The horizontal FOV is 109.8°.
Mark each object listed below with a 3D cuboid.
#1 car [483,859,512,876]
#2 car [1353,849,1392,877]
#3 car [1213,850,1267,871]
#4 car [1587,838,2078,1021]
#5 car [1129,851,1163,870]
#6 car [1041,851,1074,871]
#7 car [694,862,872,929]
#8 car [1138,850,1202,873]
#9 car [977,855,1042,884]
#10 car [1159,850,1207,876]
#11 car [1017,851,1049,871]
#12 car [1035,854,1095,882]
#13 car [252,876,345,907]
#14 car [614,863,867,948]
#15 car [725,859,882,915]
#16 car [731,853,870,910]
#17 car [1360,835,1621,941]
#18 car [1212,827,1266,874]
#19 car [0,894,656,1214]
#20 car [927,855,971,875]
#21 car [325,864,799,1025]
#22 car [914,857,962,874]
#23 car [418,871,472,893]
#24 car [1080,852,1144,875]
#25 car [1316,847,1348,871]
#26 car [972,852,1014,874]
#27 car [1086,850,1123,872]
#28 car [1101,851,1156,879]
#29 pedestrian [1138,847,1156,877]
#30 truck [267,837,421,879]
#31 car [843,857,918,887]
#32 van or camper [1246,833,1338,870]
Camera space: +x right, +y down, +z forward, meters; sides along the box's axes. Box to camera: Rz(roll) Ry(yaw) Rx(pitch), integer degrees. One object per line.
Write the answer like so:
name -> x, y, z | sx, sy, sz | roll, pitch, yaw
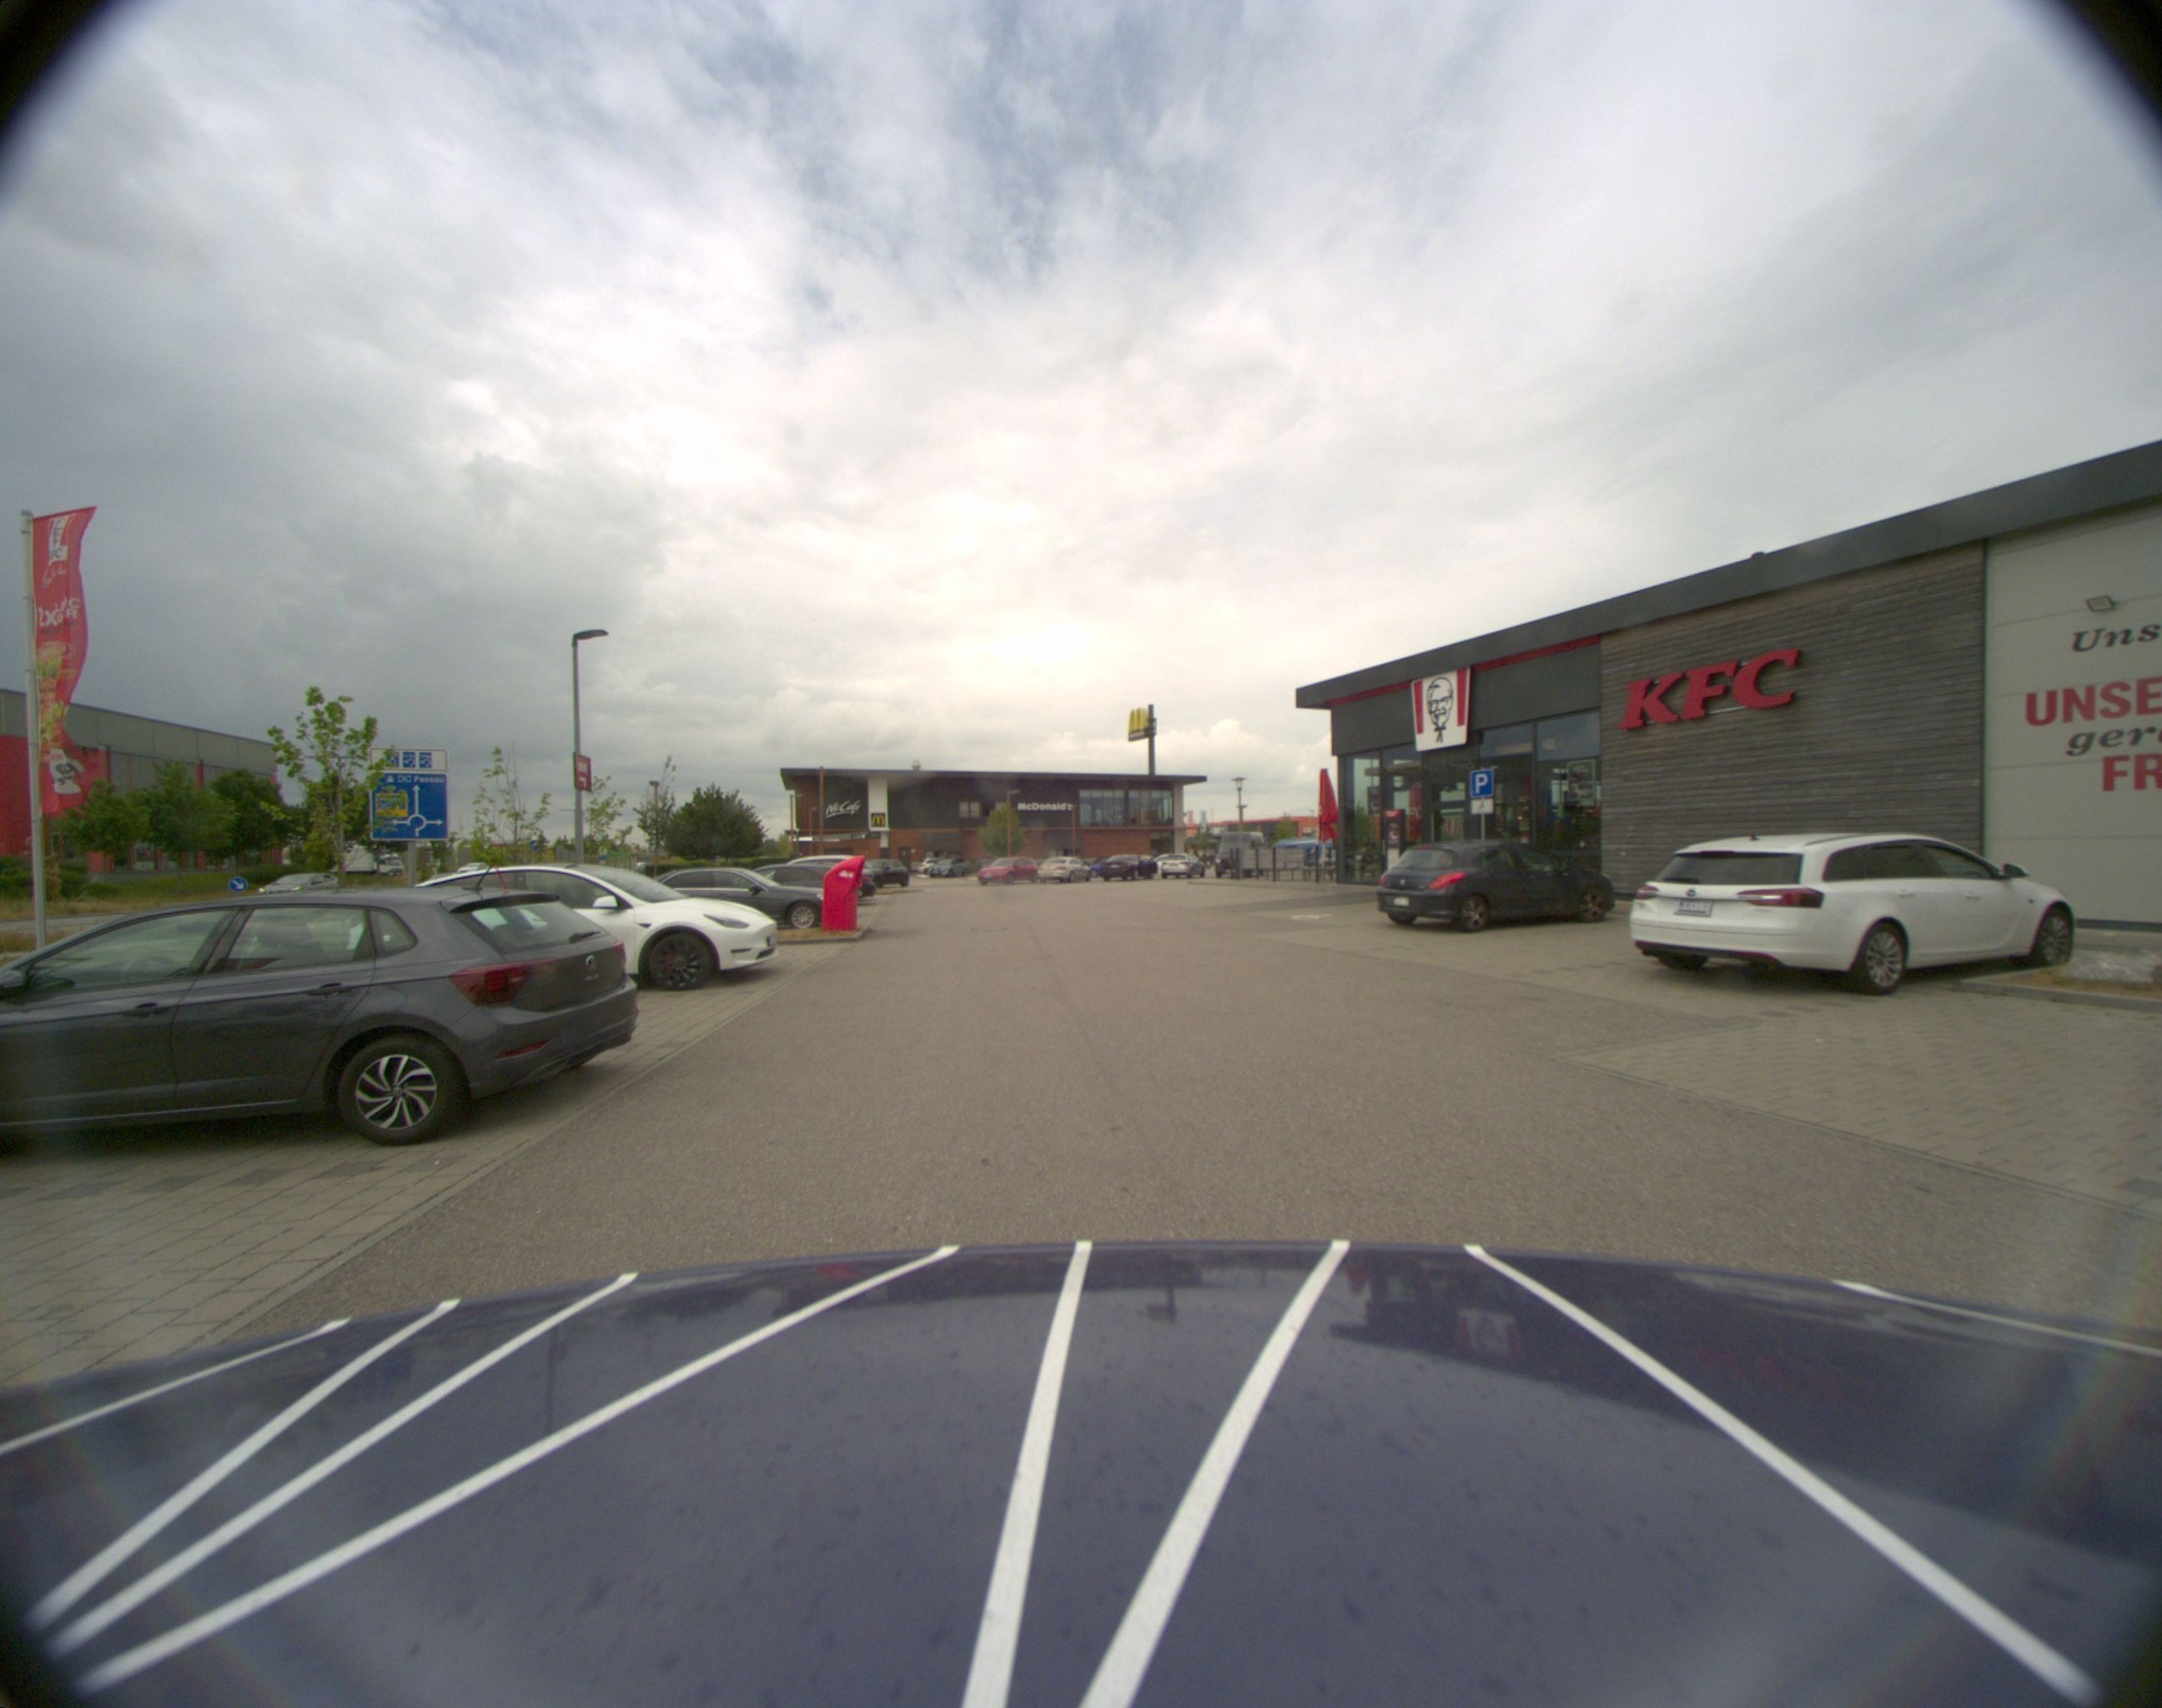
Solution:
car -> -62.038, 1.398, 80.753 | 2.004, 1.696, 3.988 | -1, 2, -43
car -> 18.560, 0.531, 48.544 | 1.996, 1.718, 4.903 | 0, 0, 17
car -> 11.800, 0.507, 56.404 | 3.565, 1.445, 1.846 | -1, 0, 22
car -> 7.807, 0.621, 7.984 | 4.183, 1.477, 1.997 | -1, 1, -19
car -> 5.786, 0.563, 67.336 | 1.786, 1.478, 4.005 | 1, 3, 25
car -> -2.179, 0.617, 68.777 | 1.754, 1.743, 3.992 | 0, 0, -22
car -> -7.604, 1.010, 19.818 | 4.072, 1.404, 1.886 | -3, 1, -16
car -> 6.204, 0.552, 53.080 | 4.102, 1.458, 1.783 | -1, -2, 20
car -> -3.743, 0.795, 40.585 | 1.683, 1.455, 4.007 | -2, -1, 24
car -> 6.003, 0.525, 44.479 | 1.683, 1.443, 4.007 | -2, -1, 24
car -> -4.312, 0.603, 67.973 | 1.754, 1.743, 3.992 | 0, 0, -22
car -> -0.785, 0.726, 41.315 | 1.749, 1.403, 4.466 | -1, -1, 20
car -> -40.390, 1.897, 39.332 | 1.757, 1.482, 4.123 | -1, -1, -21
car -> -7.281, 1.058, 16.785 | 4.744, 1.448, 1.909 | -3, 1, -13
car -> -8.823, 1.007, 24.556 | 4.518, 1.458, 1.945 | -3, 1, -16
car -> -9.821, 0.925, 26.994 | 4.374, 1.703, 1.989 | -3, 1, -16
car -> 7.112, 0.523, 13.260 | 3.942, 1.478, 1.756 | -3, 1, -18
car -> 9.403, -0.171, 44.640 | 2.068, 2.538, 7.024 | -1, -1, 20
car -> -5.123, 1.108, 4.793 | 3.807, 1.404, 1.737 | -3, 1, -7
car -> -10.535, 0.865, 61.038 | 1.746, 1.575, 3.911 | 1, 0, 20
car -> -6.241, 1.023, 9.731 | 4.546, 1.532, 1.924 | -3, 1, -9
car -> -12.791, 1.012, 68.083 | 4.004, 1.497, 1.785 | 0, 0, -21
car -> -46.564, 2.041, 55.749 | 1.757, 1.482, 4.123 | -1, -1, -21
car -> 2.107, 0.607, 51.971 | 3.989, 1.501, 1.772 | 1, 0, 25
car -> 15.944, 0.318, 48.354 | 1.829, 1.403, 4.005 | -2, 0, 17
car -> -7.137, 0.726, 62.078 | 1.996, 1.739, 4.006 | 1, -1, 16
car -> 2.096, 0.579, 65.457 | 1.894, 1.653, 4.264 | 1, 3, 21
car -> 2.716, 0.572, 42.551 | 1.683, 1.454, 4.414 | -2, -1, 23
pedestrian -> 3.726, 0.463, 42.652 | 0.747, 1.668, 0.844 | 0, 1, 24
truck -> -81.204, 0.461, 84.016 | 12.002, 4.473, 3.763 | 0, 1, -12
car -> -10.079, 0.893, 38.406 | 1.683, 1.403, 3.936 | -1, -1, 20
van or camper -> 16.522, -0.146, 59.737 | 6.557, 2.684, 2.177 | -2, -1, 28
